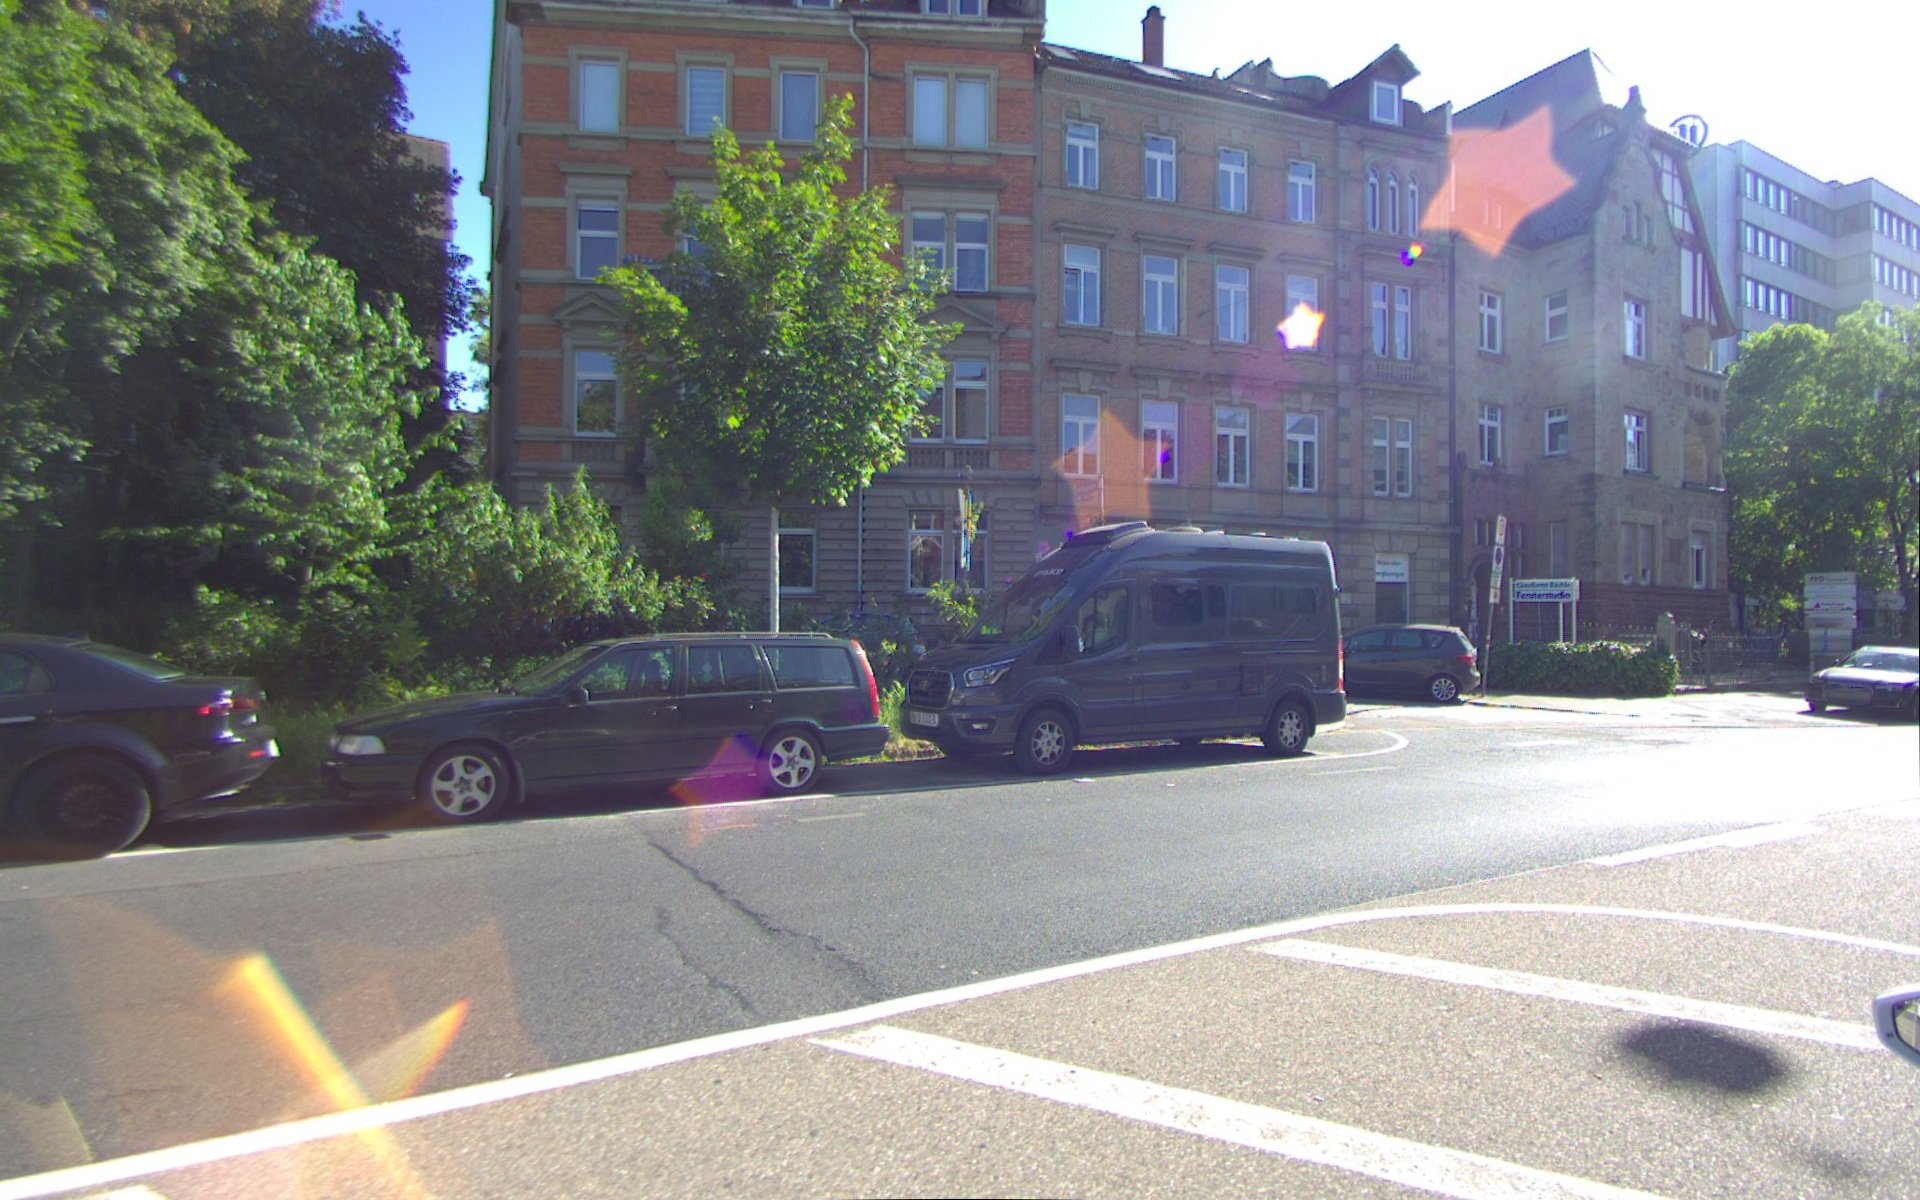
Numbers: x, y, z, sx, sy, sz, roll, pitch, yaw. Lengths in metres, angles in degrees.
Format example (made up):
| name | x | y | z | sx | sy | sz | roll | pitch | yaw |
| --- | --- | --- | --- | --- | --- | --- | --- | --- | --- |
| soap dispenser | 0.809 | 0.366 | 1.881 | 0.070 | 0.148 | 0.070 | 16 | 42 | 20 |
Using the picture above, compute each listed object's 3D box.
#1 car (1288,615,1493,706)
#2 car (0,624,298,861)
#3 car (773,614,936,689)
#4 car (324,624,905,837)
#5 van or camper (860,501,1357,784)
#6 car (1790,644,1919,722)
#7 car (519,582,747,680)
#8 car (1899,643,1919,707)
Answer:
| name | x | y | z | sx | sy | sz | roll | pitch | yaw |
| --- | --- | --- | --- | --- | --- | --- | --- | --- | --- |
| car | 9.701 | 1.294 | 22.719 | 4.067 | 1.693 | 1.997 | 2 | 2 | 27 |
| car | -6.938 | 0.894 | 6.453 | 4.354 | 1.431 | 1.772 | 1 | -4 | -31 |
| car | -2.342 | 1.171 | 22.562 | 3.463 | 1.532 | 1.864 | 2 | -3 | -6 |
| car | -2.912 | 1.004 | 8.968 | 4.611 | 1.475 | 1.685 | 1 | -4 | -32 |
| van or camper | 1.971 | 0.499 | 12.342 | 6.017 | 2.775 | 2.206 | 1 | -2 | -31 |
| car | 20.681 | 1.769 | 22.341 | 4.663 | 1.446 | 1.847 | 2 | 2 | -30 |
| car | -7.019 | 0.721 | 21.996 | 4.368 | 1.938 | 1.864 | 2 | -3 | -6 |
| car | 25.263 | 1.879 | 24.981 | 4.659 | 1.514 | 1.843 | 2 | 1 | -35 |
